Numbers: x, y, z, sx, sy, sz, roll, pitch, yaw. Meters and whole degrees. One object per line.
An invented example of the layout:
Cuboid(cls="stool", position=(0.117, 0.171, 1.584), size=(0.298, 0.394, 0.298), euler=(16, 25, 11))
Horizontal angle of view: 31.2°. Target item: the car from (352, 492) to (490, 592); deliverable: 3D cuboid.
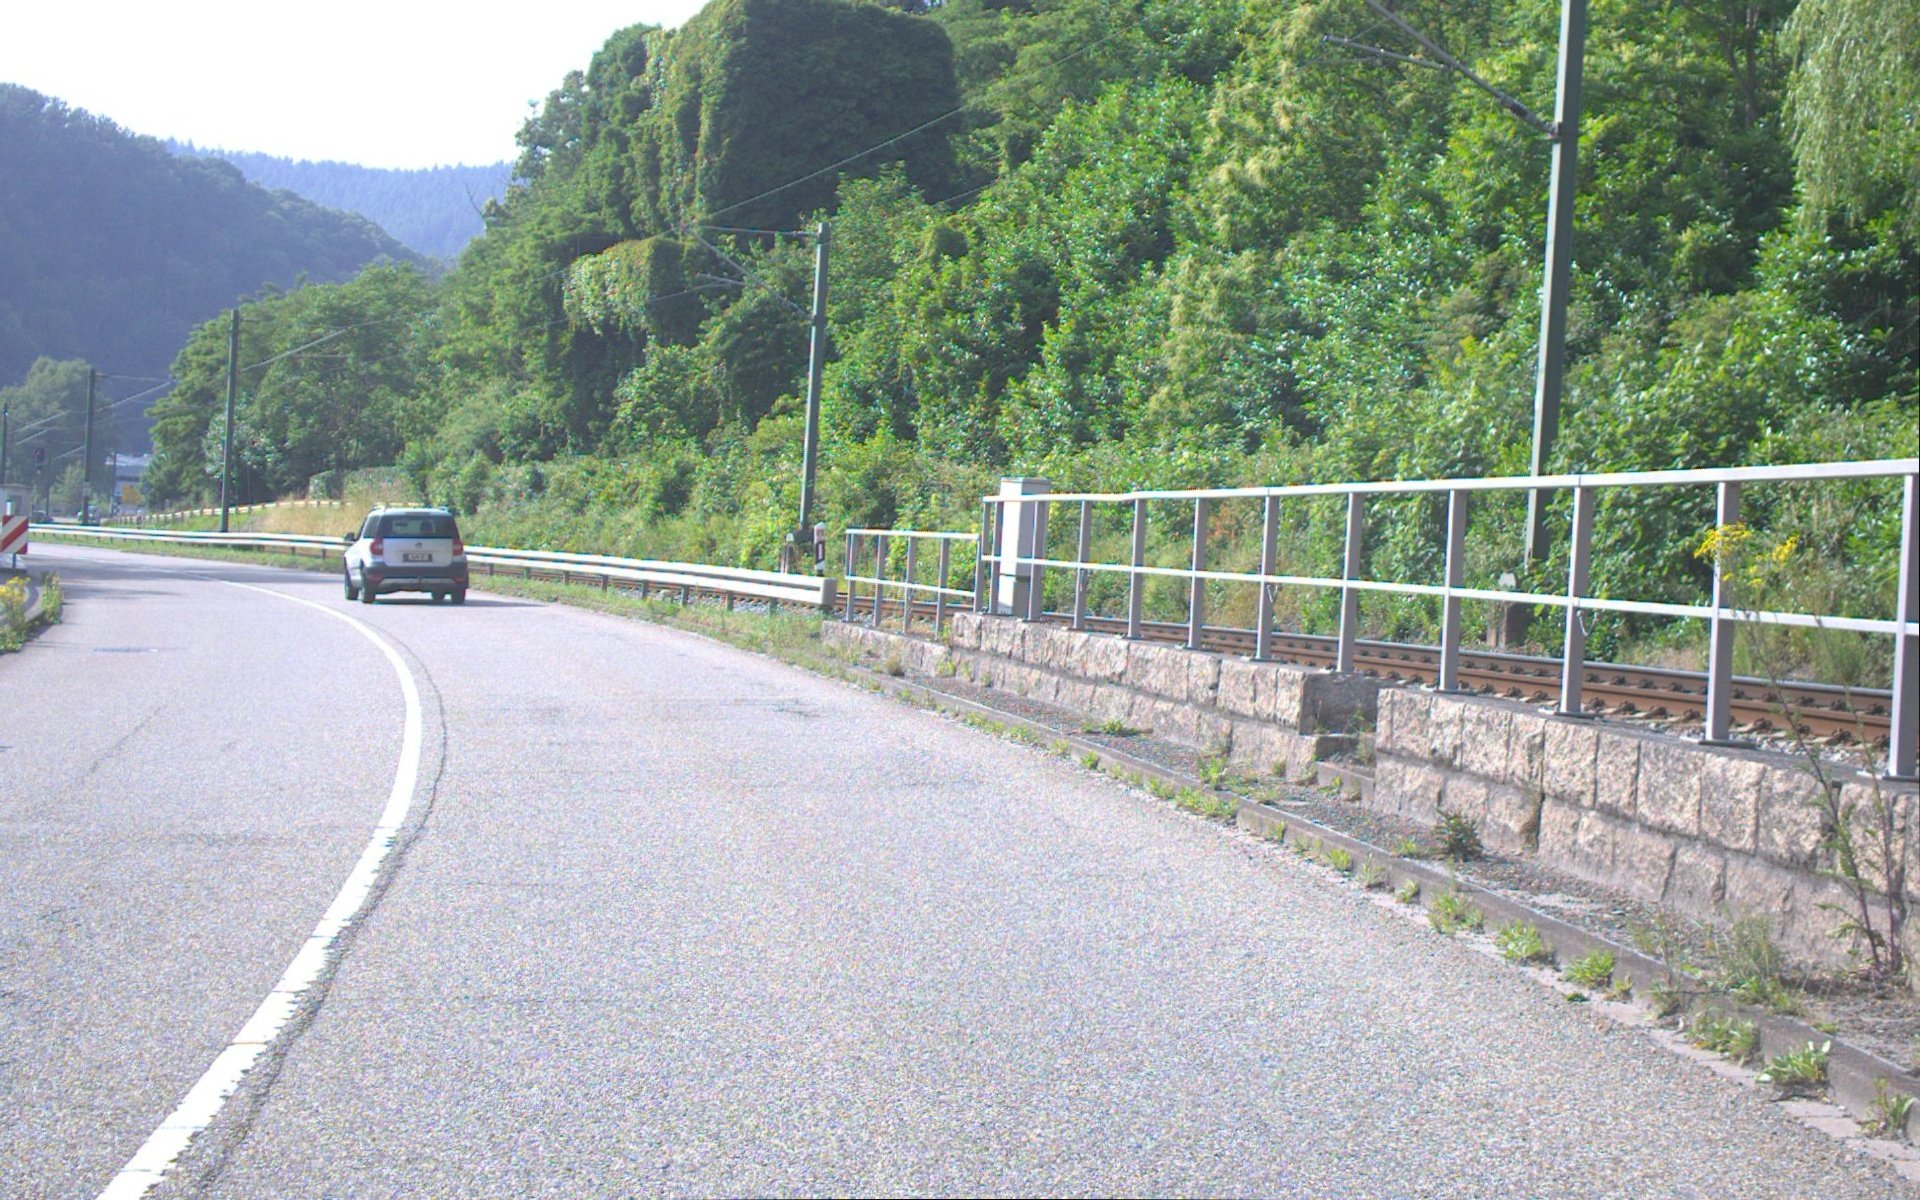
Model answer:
Cuboid(cls="car", position=(-9.401, -1.027, 59.740), size=(1.872, 1.650, 4.001), euler=(1, 1, -16))
